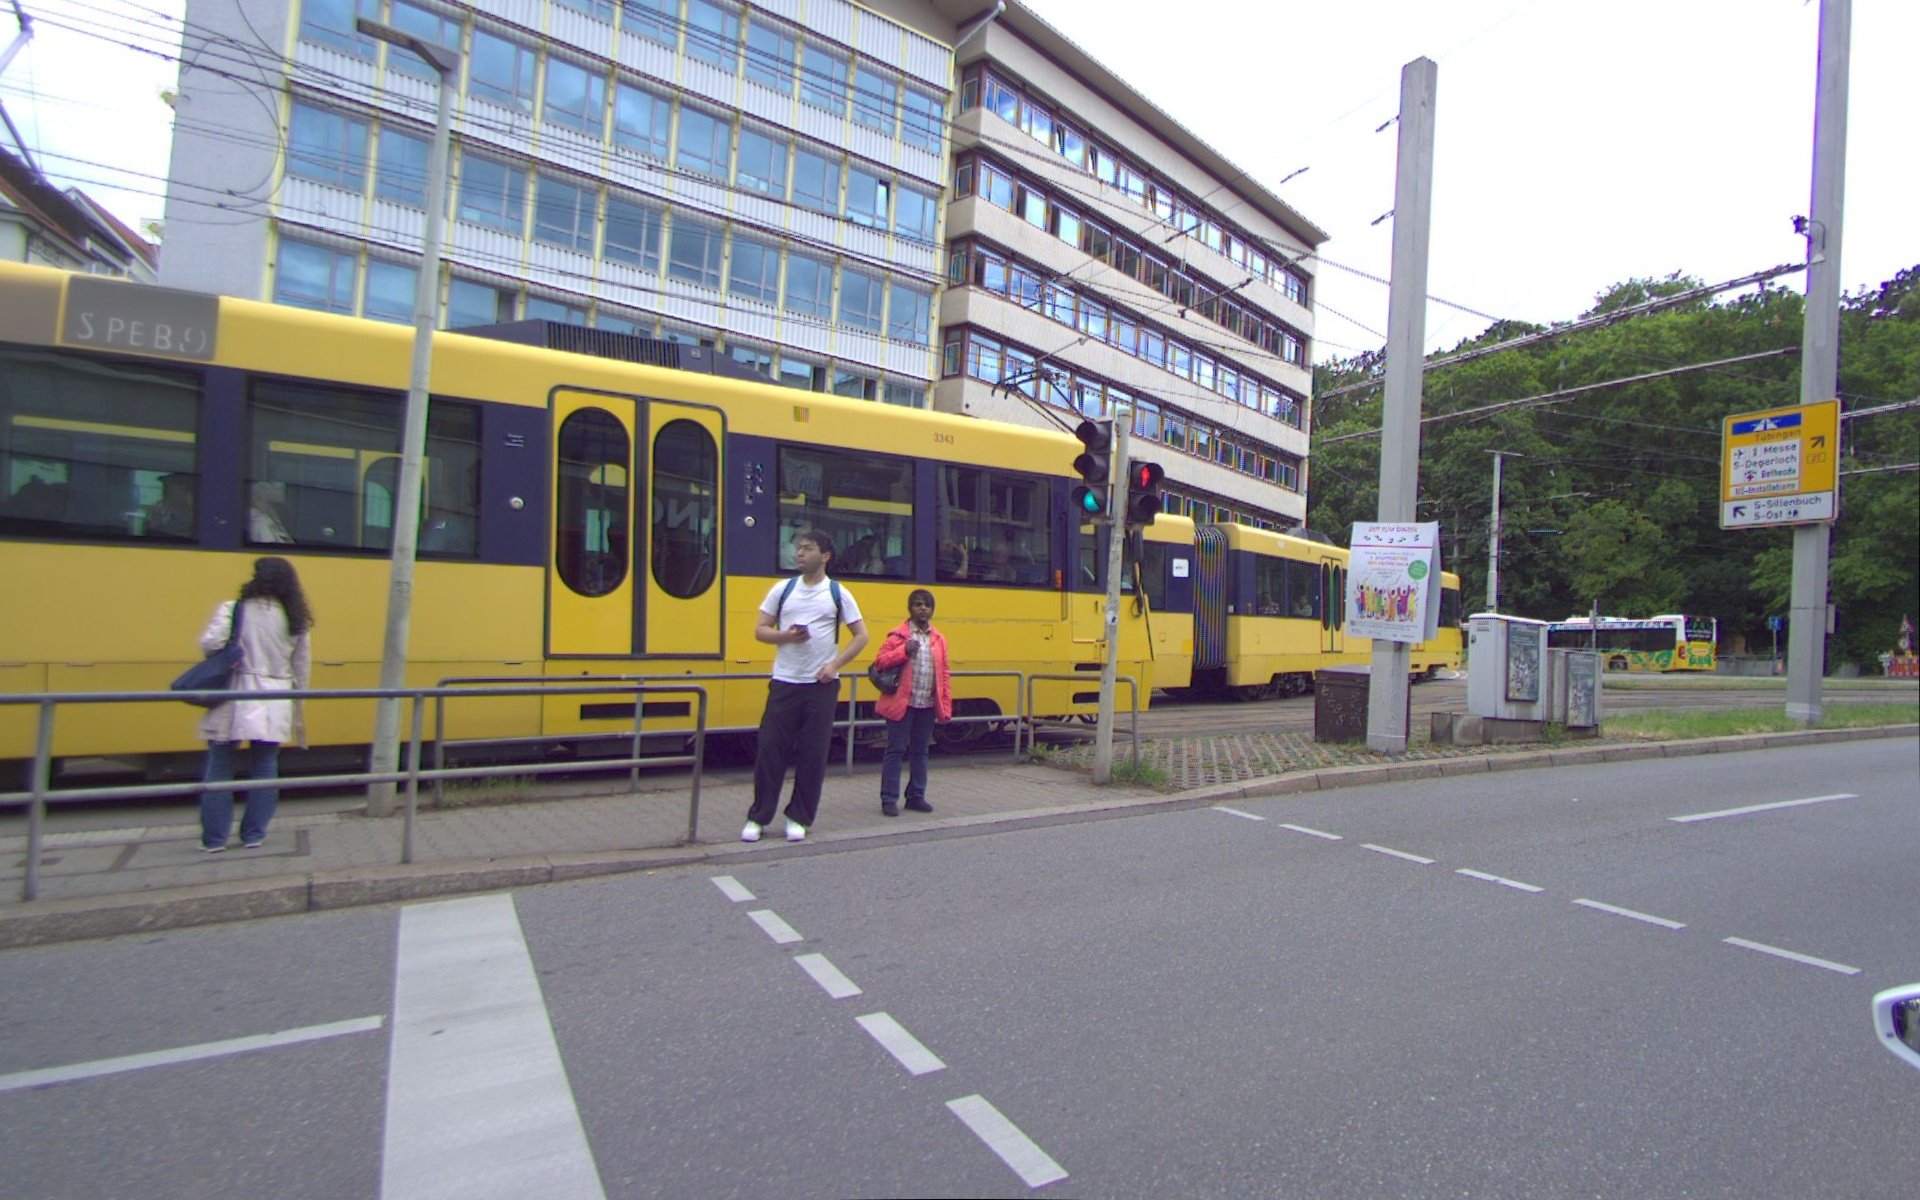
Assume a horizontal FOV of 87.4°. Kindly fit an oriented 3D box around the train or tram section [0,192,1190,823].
[{"bbox_3d":[-4.073,-0.417,8.725,14.327,3.712,2.864,3,-2,-34],"label":"train or tram section"}]

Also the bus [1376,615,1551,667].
[{"bbox_3d":[32.168,2.666,65.022,3.270,3.083,11.325,1,-2,-16],"label":"bus"}]

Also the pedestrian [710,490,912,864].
[{"bbox_3d":[-0.950,0.483,6.280,1.015,2.093,0.967,5,-4,-13],"label":"pedestrian"}]

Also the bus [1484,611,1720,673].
[{"bbox_3d":[35.037,2.309,55.706,3.337,3.069,11.504,1,-2,-18],"label":"bus"}]

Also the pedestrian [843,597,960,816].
[{"bbox_3d":[-0.428,0.761,7.259,0.664,1.482,0.577,5,-4,-13],"label":"pedestrian"}]

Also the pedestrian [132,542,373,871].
[{"bbox_3d":[-3.882,0.556,5.589,0.990,1.646,0.671,2,-2,-34],"label":"pedestrian"}]
